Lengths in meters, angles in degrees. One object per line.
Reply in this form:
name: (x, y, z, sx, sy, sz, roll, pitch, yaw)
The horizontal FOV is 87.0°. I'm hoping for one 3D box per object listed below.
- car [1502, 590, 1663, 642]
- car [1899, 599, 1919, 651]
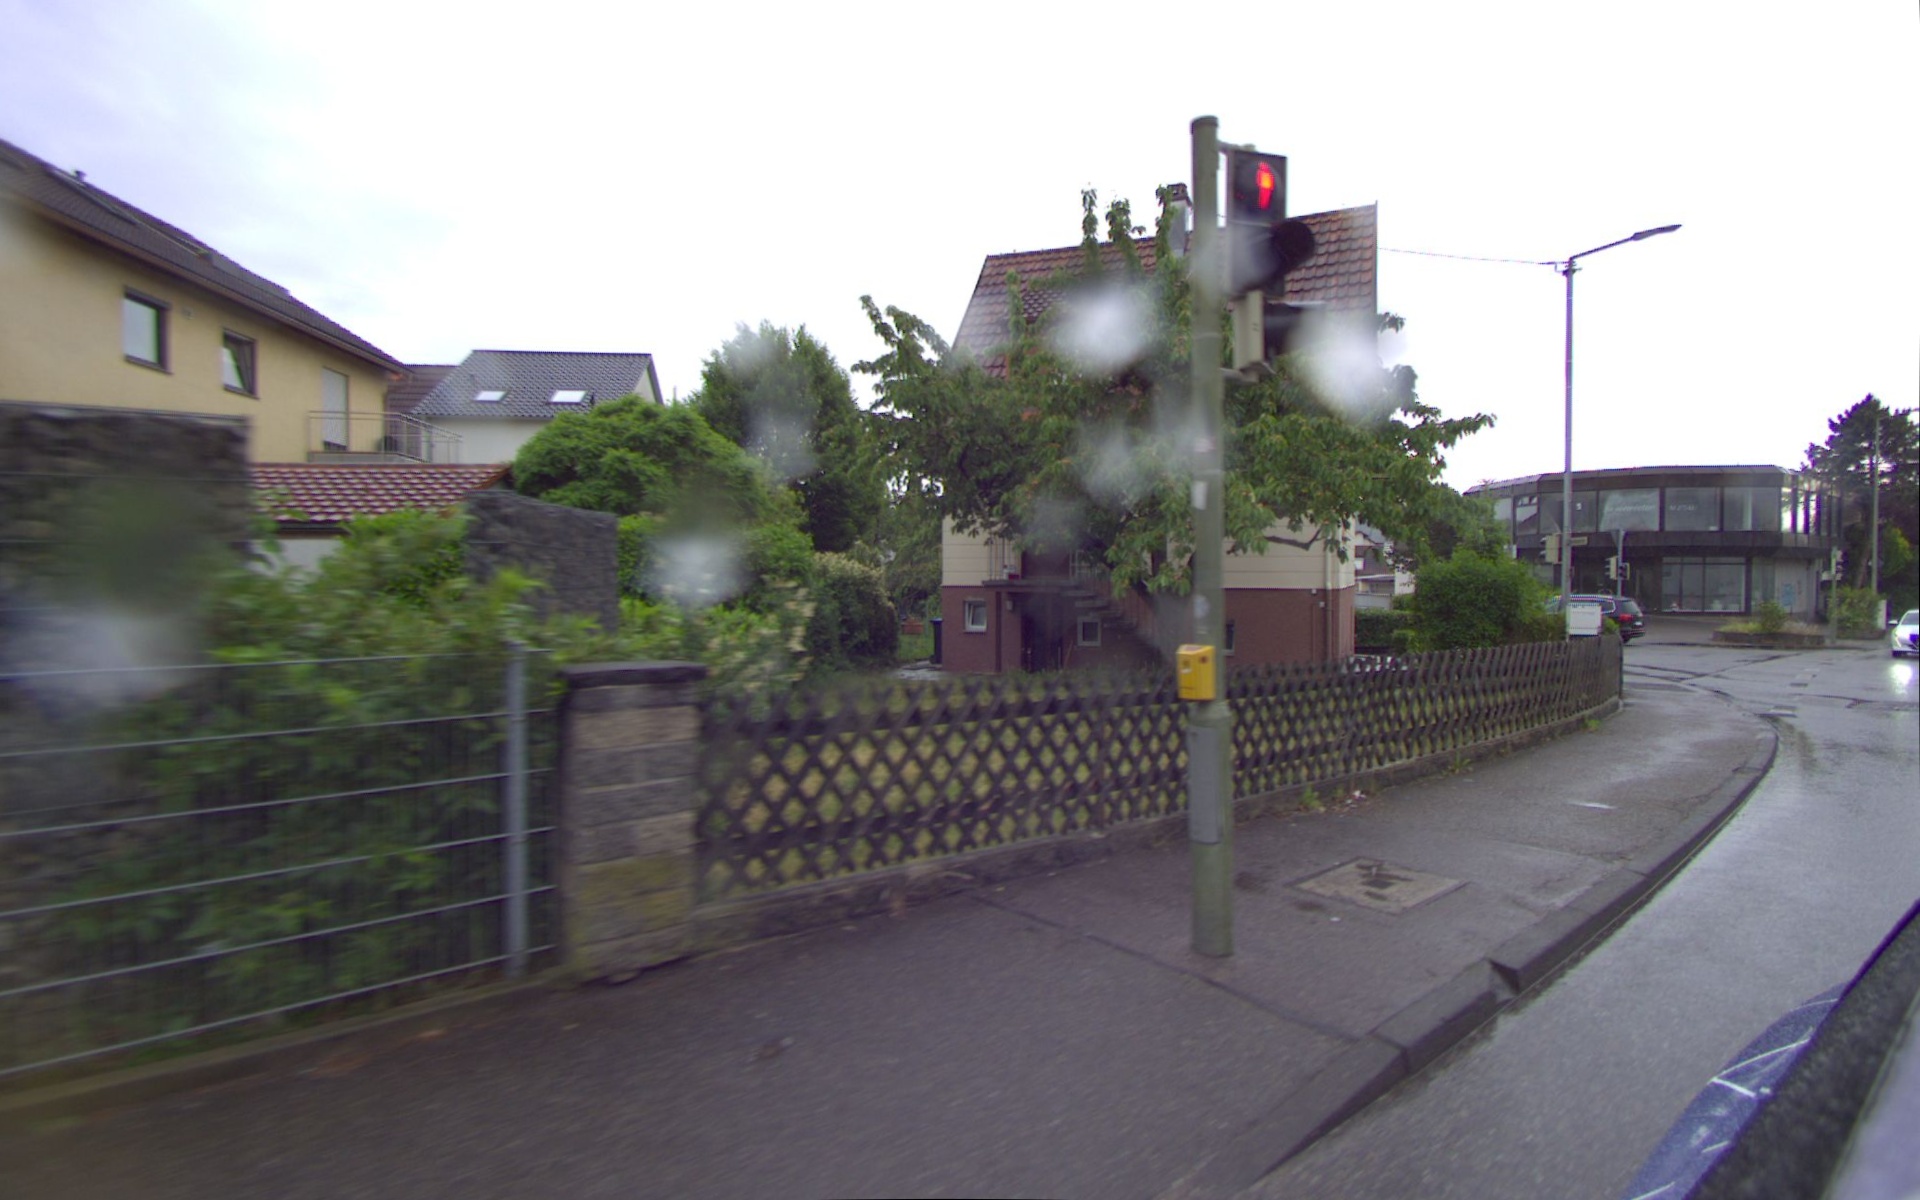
car: (22.616, 0.521, 36.940, 1.962, 1.772, 4.647, 0, 0, -35)
car: (29.595, 0.722, 30.225, 4.269, 1.458, 1.828, 0, 0, -41)
